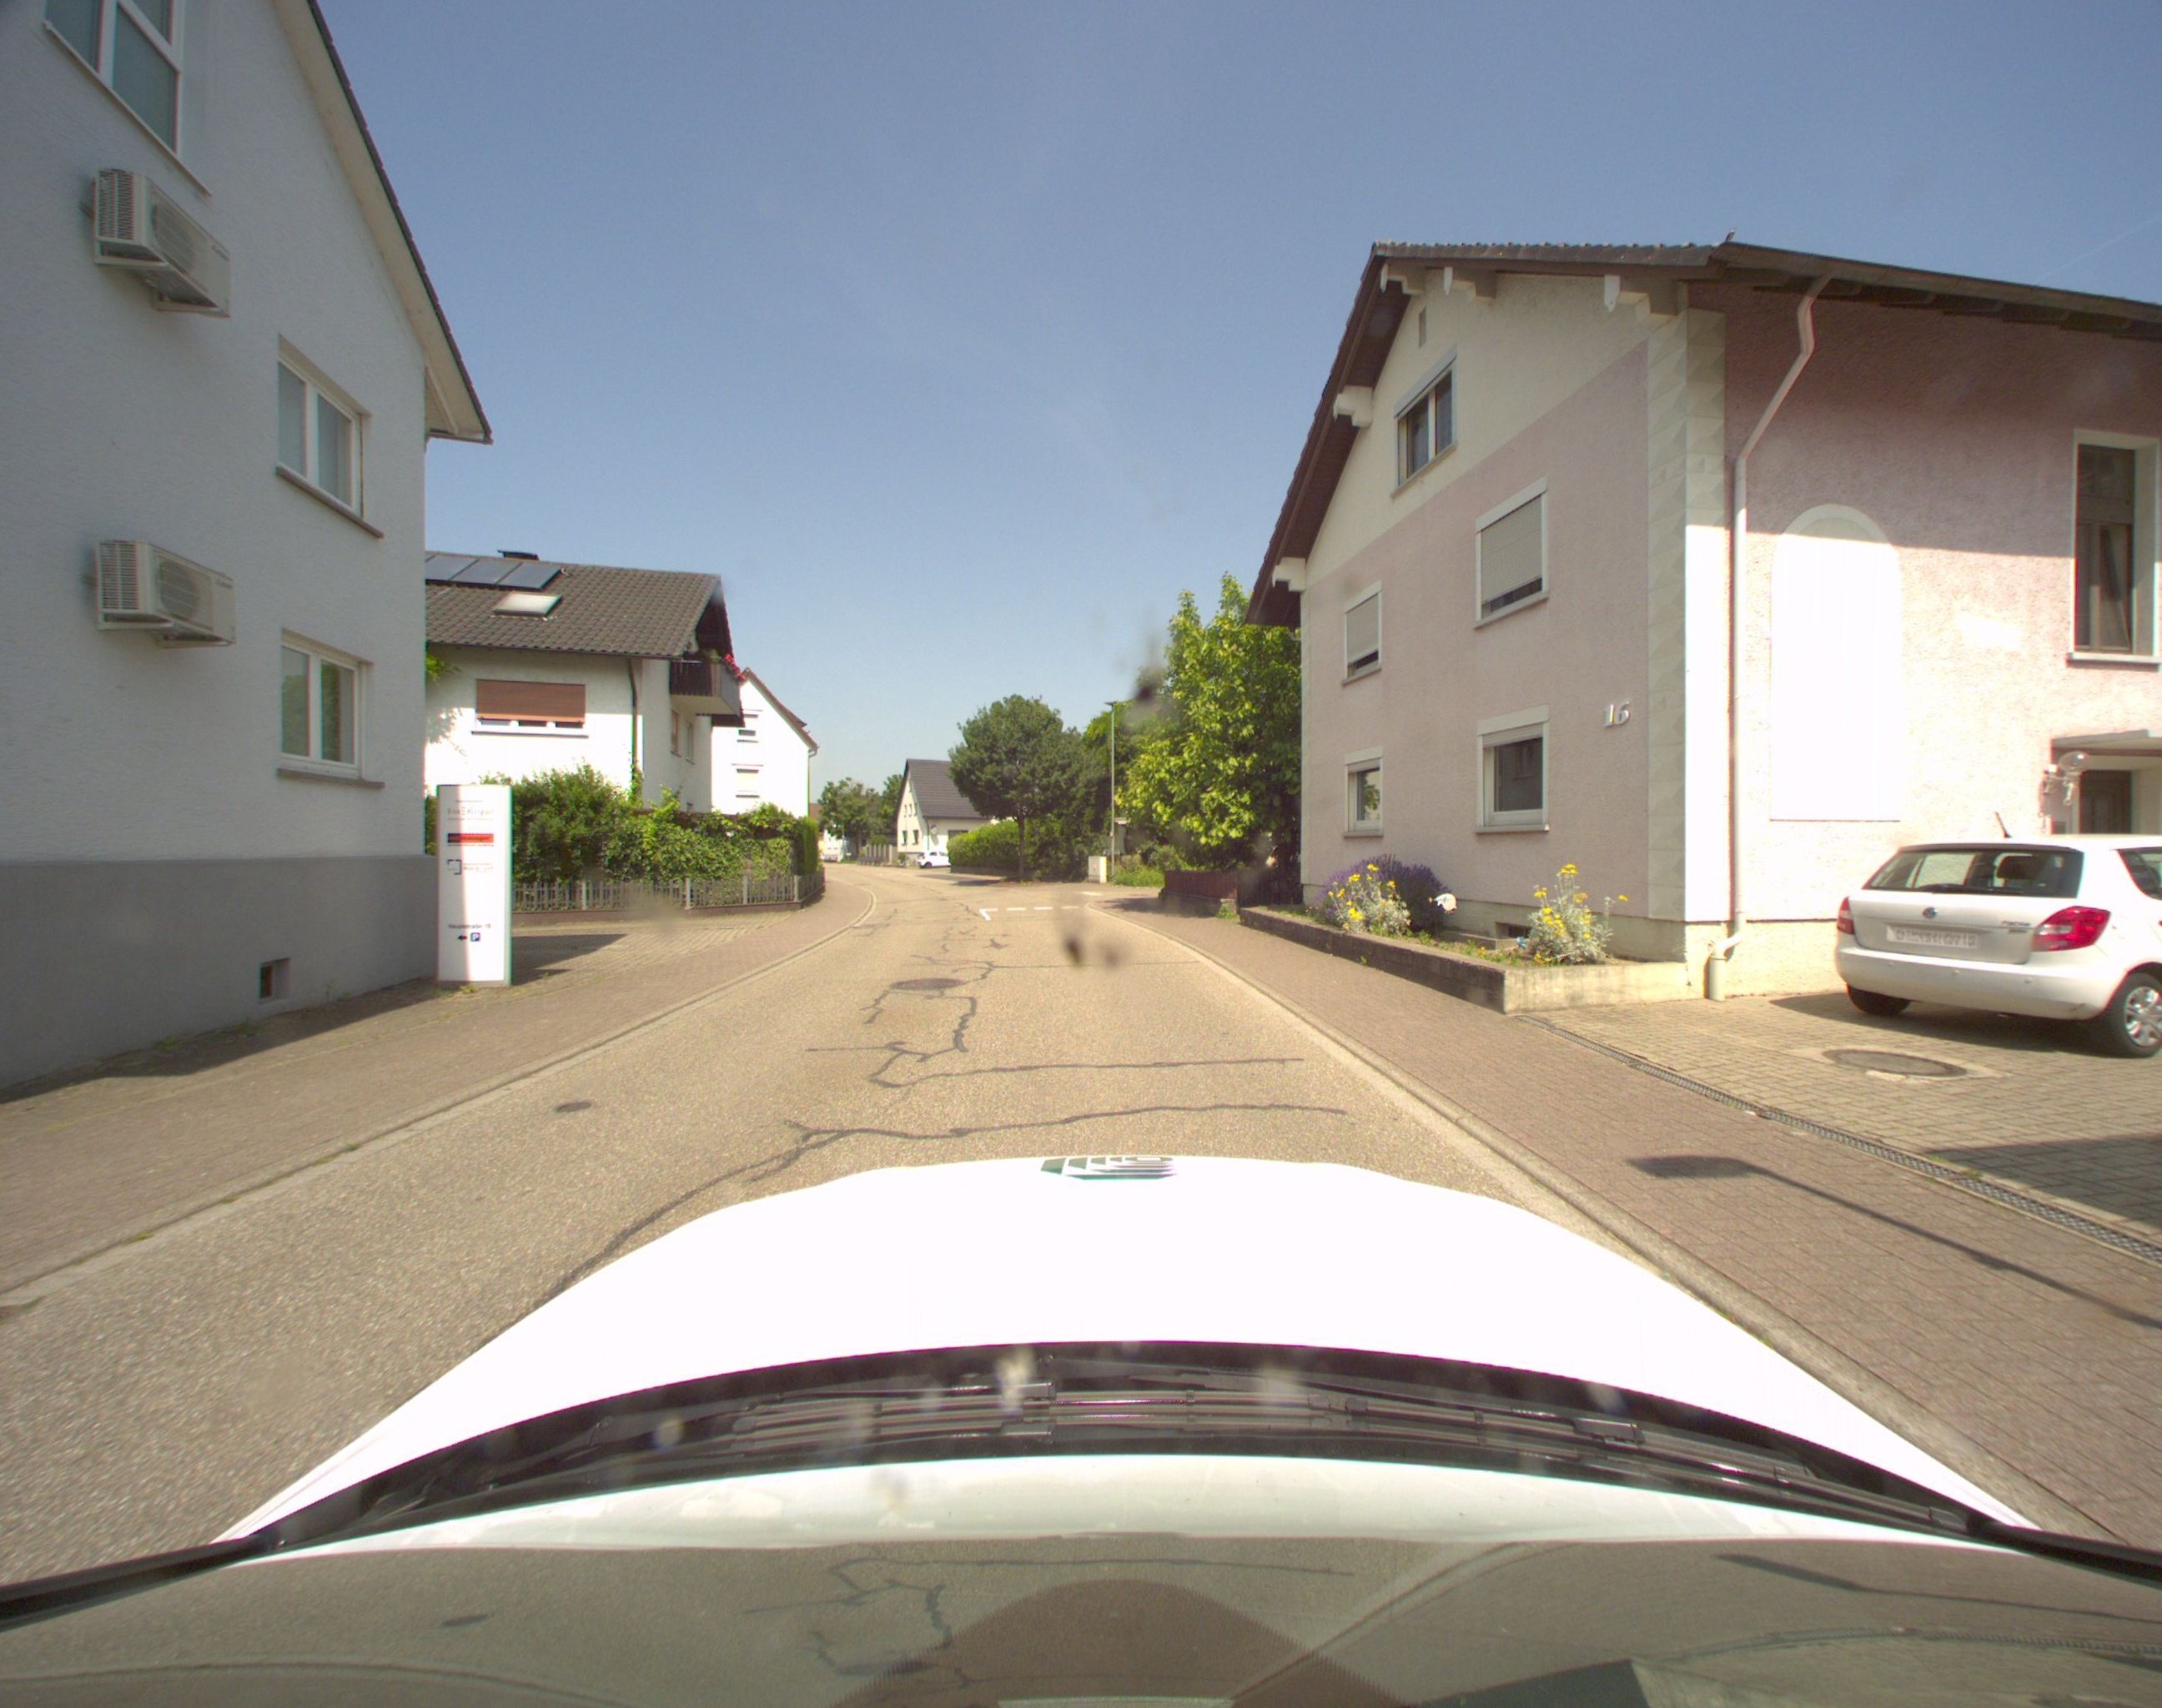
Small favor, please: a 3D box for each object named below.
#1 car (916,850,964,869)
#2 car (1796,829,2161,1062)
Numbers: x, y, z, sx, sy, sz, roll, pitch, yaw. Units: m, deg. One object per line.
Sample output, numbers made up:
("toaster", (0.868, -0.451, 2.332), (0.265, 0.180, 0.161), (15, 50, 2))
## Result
("car", (-12.008, 0.424, 69.289), (3.680, 1.474, 1.749), (-2, 2, -30))
("car", (8.045, 0.556, 6.435), (3.749, 1.461, 1.674), (-1, 0, -11))
